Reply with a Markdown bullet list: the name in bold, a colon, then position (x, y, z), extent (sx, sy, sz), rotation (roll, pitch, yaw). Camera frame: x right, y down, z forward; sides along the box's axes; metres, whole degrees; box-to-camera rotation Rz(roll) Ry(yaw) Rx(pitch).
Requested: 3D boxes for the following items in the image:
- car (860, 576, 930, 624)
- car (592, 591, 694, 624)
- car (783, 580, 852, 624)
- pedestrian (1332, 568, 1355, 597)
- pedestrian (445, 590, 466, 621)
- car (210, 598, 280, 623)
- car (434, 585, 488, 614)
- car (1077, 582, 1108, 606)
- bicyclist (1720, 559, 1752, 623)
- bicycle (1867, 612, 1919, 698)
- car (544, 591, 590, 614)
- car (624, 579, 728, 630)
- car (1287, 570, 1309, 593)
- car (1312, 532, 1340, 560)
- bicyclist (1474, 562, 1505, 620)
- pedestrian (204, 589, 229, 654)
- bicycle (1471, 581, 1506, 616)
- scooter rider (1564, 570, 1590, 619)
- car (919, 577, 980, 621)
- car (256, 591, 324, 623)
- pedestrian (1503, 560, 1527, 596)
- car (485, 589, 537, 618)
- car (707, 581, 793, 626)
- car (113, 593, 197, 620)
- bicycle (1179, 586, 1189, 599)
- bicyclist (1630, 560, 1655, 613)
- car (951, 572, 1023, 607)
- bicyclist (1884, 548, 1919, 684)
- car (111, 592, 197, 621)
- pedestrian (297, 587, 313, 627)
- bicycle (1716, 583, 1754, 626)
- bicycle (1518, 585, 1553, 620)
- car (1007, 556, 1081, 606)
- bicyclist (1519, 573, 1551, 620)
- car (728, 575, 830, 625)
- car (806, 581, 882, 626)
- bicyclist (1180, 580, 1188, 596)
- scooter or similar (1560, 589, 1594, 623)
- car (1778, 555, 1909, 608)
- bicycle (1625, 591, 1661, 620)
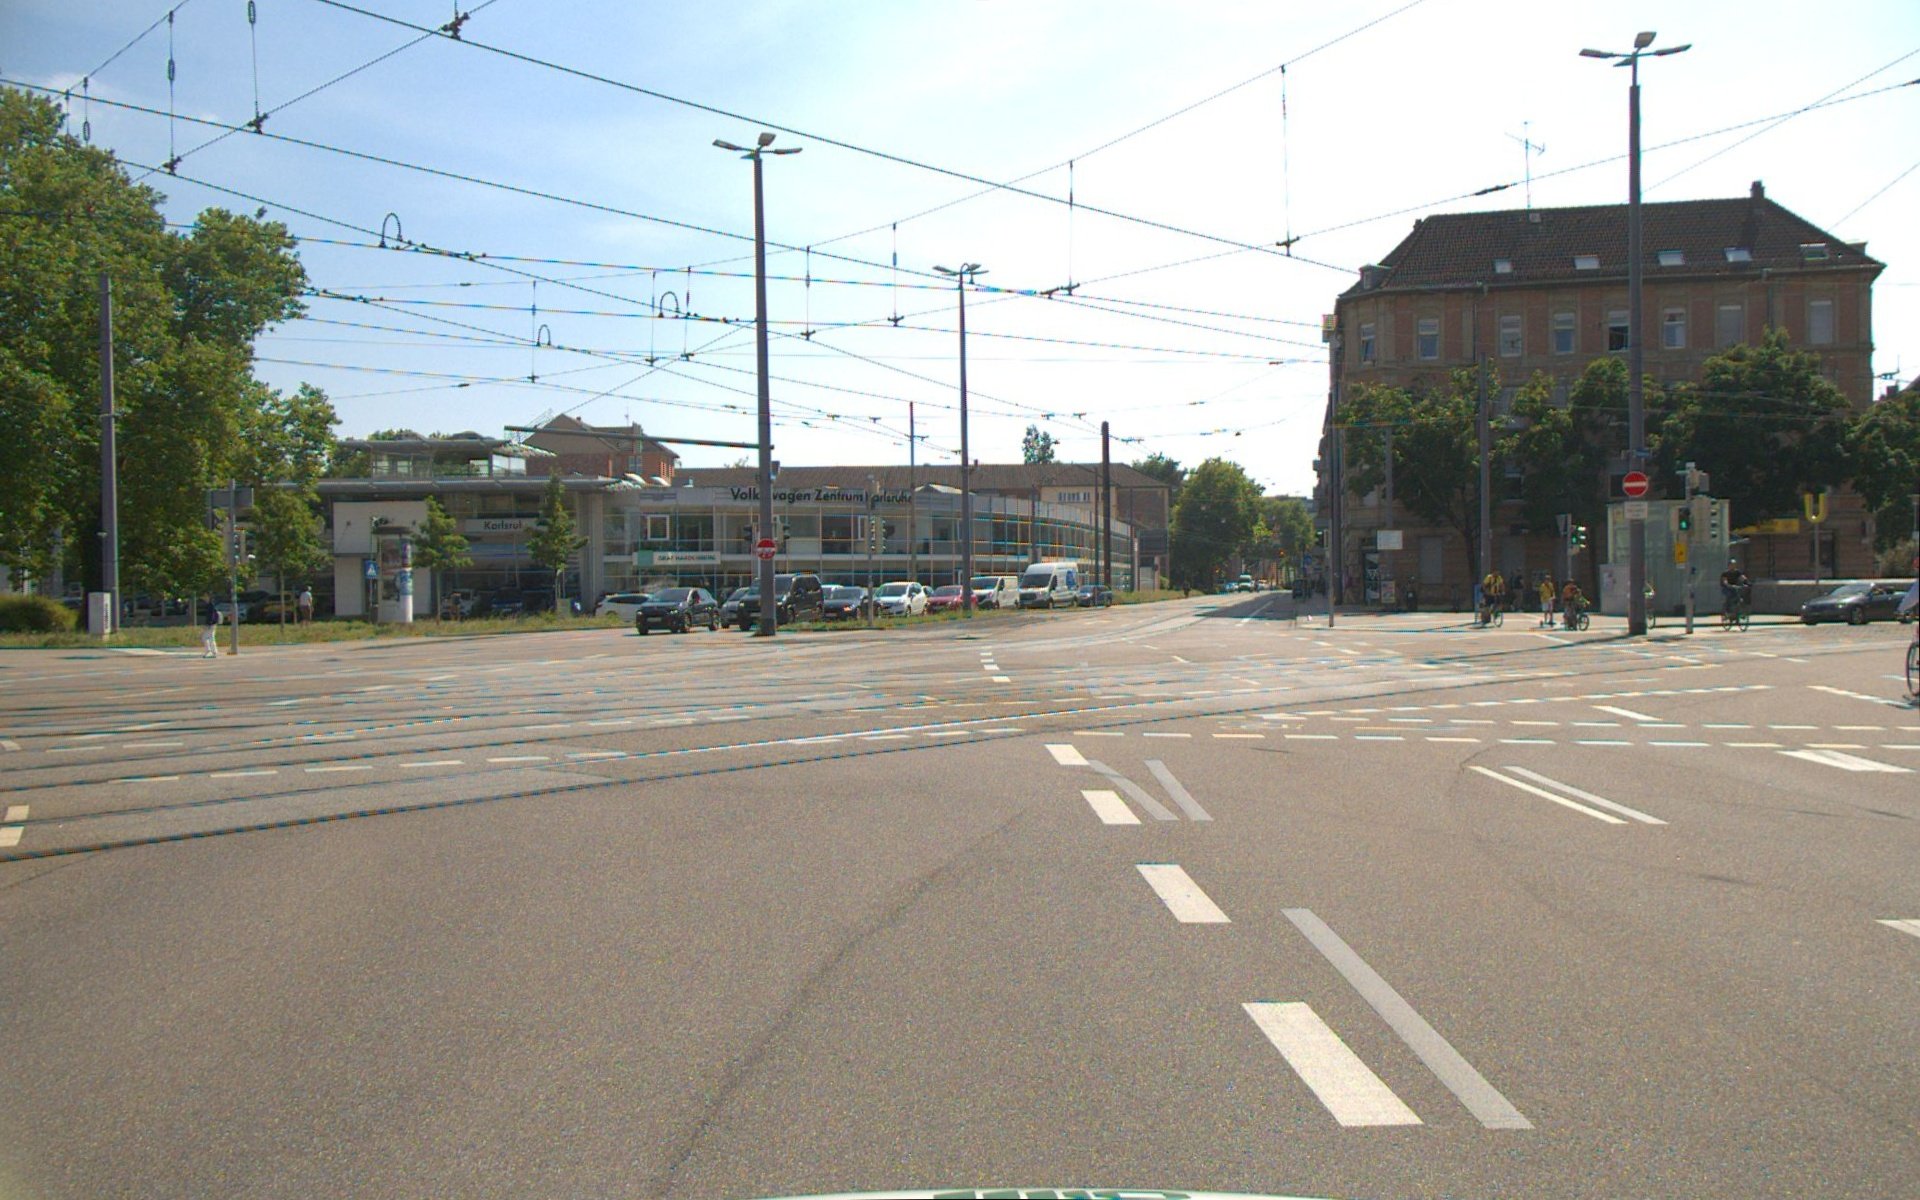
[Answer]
- **car**: position (-2.705, 0.005, 70.173), extent (1.854, 1.950, 4.203), rotation (-1, -1, 14)
- **car**: position (-15.066, 0.366, 78.614), extent (4.486, 1.461, 1.445), rotation (1, 0, 11)
- **car**: position (-5.933, 0.088, 69.254), extent (1.616, 1.769, 4.203), rotation (-1, -1, 14)
- **pedestrian**: position (19.413, -0.871, 83.686), extent (0.707, 1.458, 0.872), rotation (-1, 0, -44)
- **pedestrian**: position (-26.032, 0.290, 85.313), extent (0.935, 1.607, 0.533), rotation (1, -1, -6)
- **car**: position (-39.192, 0.564, 90.726), extent (1.952, 1.266, 4.001), rotation (1, 0, 2)
- **car**: position (-27.386, -0.026, 90.888), extent (1.954, 1.512, 3.997), rotation (-1, 1, -4)
- **car**: position (8.430, -0.359, 104.839), extent (1.355, 1.439, 3.014), rotation (1, 0, 17)
- **bicyclist**: position (20.410, -0.246, 43.518), extent (0.653, 1.652, 0.783), rotation (1, 1, 20)
- **bicycle**: position (12.408, 0.698, 21.072), extent (0.699, 1.033, 2.022), rotation (-3, 0, 5)
- **car**: position (-21.523, 0.129, 90.767), extent (1.794, 1.216, 3.997), rotation (1, 0, -4)
- **car**: position (-9.449, 0.179, 55.365), extent (1.851, 1.615, 4.213), rotation (-1, -1, 14)
- **car**: position (32.437, -1.763, 158.716), extent (2.063, 2.049, 4.003), rotation (1, 0, 12)
- **car**: position (29.057, -4.249, 131.406), extent (1.951, 2.049, 4.003), rotation (1, 0, 9)
- **bicyclist**: position (17.308, -0.283, 54.080), extent (0.907, 1.852, 1.053), rotation (1, -1, 15)
- **pedestrian**: position (-18.810, 0.554, 41.836), extent (0.450, 1.633, 0.394), rotation (1, -1, -39)
- **bicycle**: position (17.352, -0.043, 54.336), extent (0.907, 1.088, 2.749), rotation (1, 0, 14)
- **scooter rider**: position (18.412, -0.165, 49.352), extent (0.575, 1.422, 0.406), rotation (1, -1, -3)
- **car**: position (-0.446, -0.012, 77.191), extent (1.854, 1.950, 4.203), rotation (-1, -1, 14)
- **car**: position (-36.898, 0.387, 91.239), extent (1.952, 1.713, 4.001), rotation (1, 0, 2)
- **pedestrian**: position (22.809, -0.892, 67.950), extent (0.608, 1.458, 0.702), rotation (1, -1, -40)
- **car**: position (-24.663, 0.192, 90.996), extent (1.954, 1.512, 3.997), rotation (1, 0, -4)
- **car**: position (-7.846, 0.134, 62.262), extent (1.854, 1.615, 4.003), rotation (-1, -1, 14)
- **car**: position (-47.177, 0.374, 96.989), extent (3.909, 1.534, 1.998), rotation (-1, 1, -5)
- **bicycle**: position (21.715, -0.756, 160.462), extent (0.736, 1.215, 2.841), rotation (1, 0, 11)
- **bicyclist**: position (21.303, -0.425, 51.625), extent (0.490, 1.649, 0.650), rotation (1, 0, 2)
- **car**: position (1.424, -0.539, 84.446), extent (2.140, 1.710, 5.031), rotation (-1, 0, 20)
- **bicyclist**: position (12.374, 0.182, 21.064), extent (0.699, 1.698, 0.875), rotation (-3, 0, 5)
- **car**: position (-45.986, 0.378, 94.374), extent (3.909, 1.579, 1.998), rotation (-1, 1, -5)
- **pedestrian**: position (-27.081, 0.285, 68.405), extent (0.384, 1.624, 0.464), rotation (1, -1, 21)
- **bicycle**: position (20.415, 0.105, 43.603), extent (0.653, 1.088, 2.464), rotation (1, 1, 20)
- **bicycle**: position (18.583, 0.068, 53.421), extent (0.907, 1.088, 2.843), rotation (1, 1, 16)
- **car**: position (4.689, -1.024, 91.701), extent (2.164, 2.620, 5.872), rotation (1, 0, 23)
- **bicyclist**: position (18.598, -0.131, 53.507), extent (0.907, 1.477, 1.253), rotation (1, 1, 16)
- **car**: position (-6.081, -0.042, 56.148), extent (1.919, 1.615, 4.720), rotation (-1, 1, 14)
- **car**: position (-4.367, 0.162, 62.790), extent (1.854, 1.615, 4.003), rotation (-1, -1, 12)
- **bicyclist**: position (21.739, -1.165, 160.552), extent (0.736, 1.595, 1.088), rotation (1, -1, 11)
- **scooter or similar**: position (18.413, 0.187, 49.362), extent (0.575, 0.993, 0.991), rotation (1, 0, -3)
- **car**: position (28.469, -0.601, 53.293), extent (3.933, 1.611, 1.627), rotation (-1, 1, -23)
- **bicycle**: position (21.294, 0.160, 51.576), extent (0.490, 0.881, 1.588), rotation (1, 1, 2)
